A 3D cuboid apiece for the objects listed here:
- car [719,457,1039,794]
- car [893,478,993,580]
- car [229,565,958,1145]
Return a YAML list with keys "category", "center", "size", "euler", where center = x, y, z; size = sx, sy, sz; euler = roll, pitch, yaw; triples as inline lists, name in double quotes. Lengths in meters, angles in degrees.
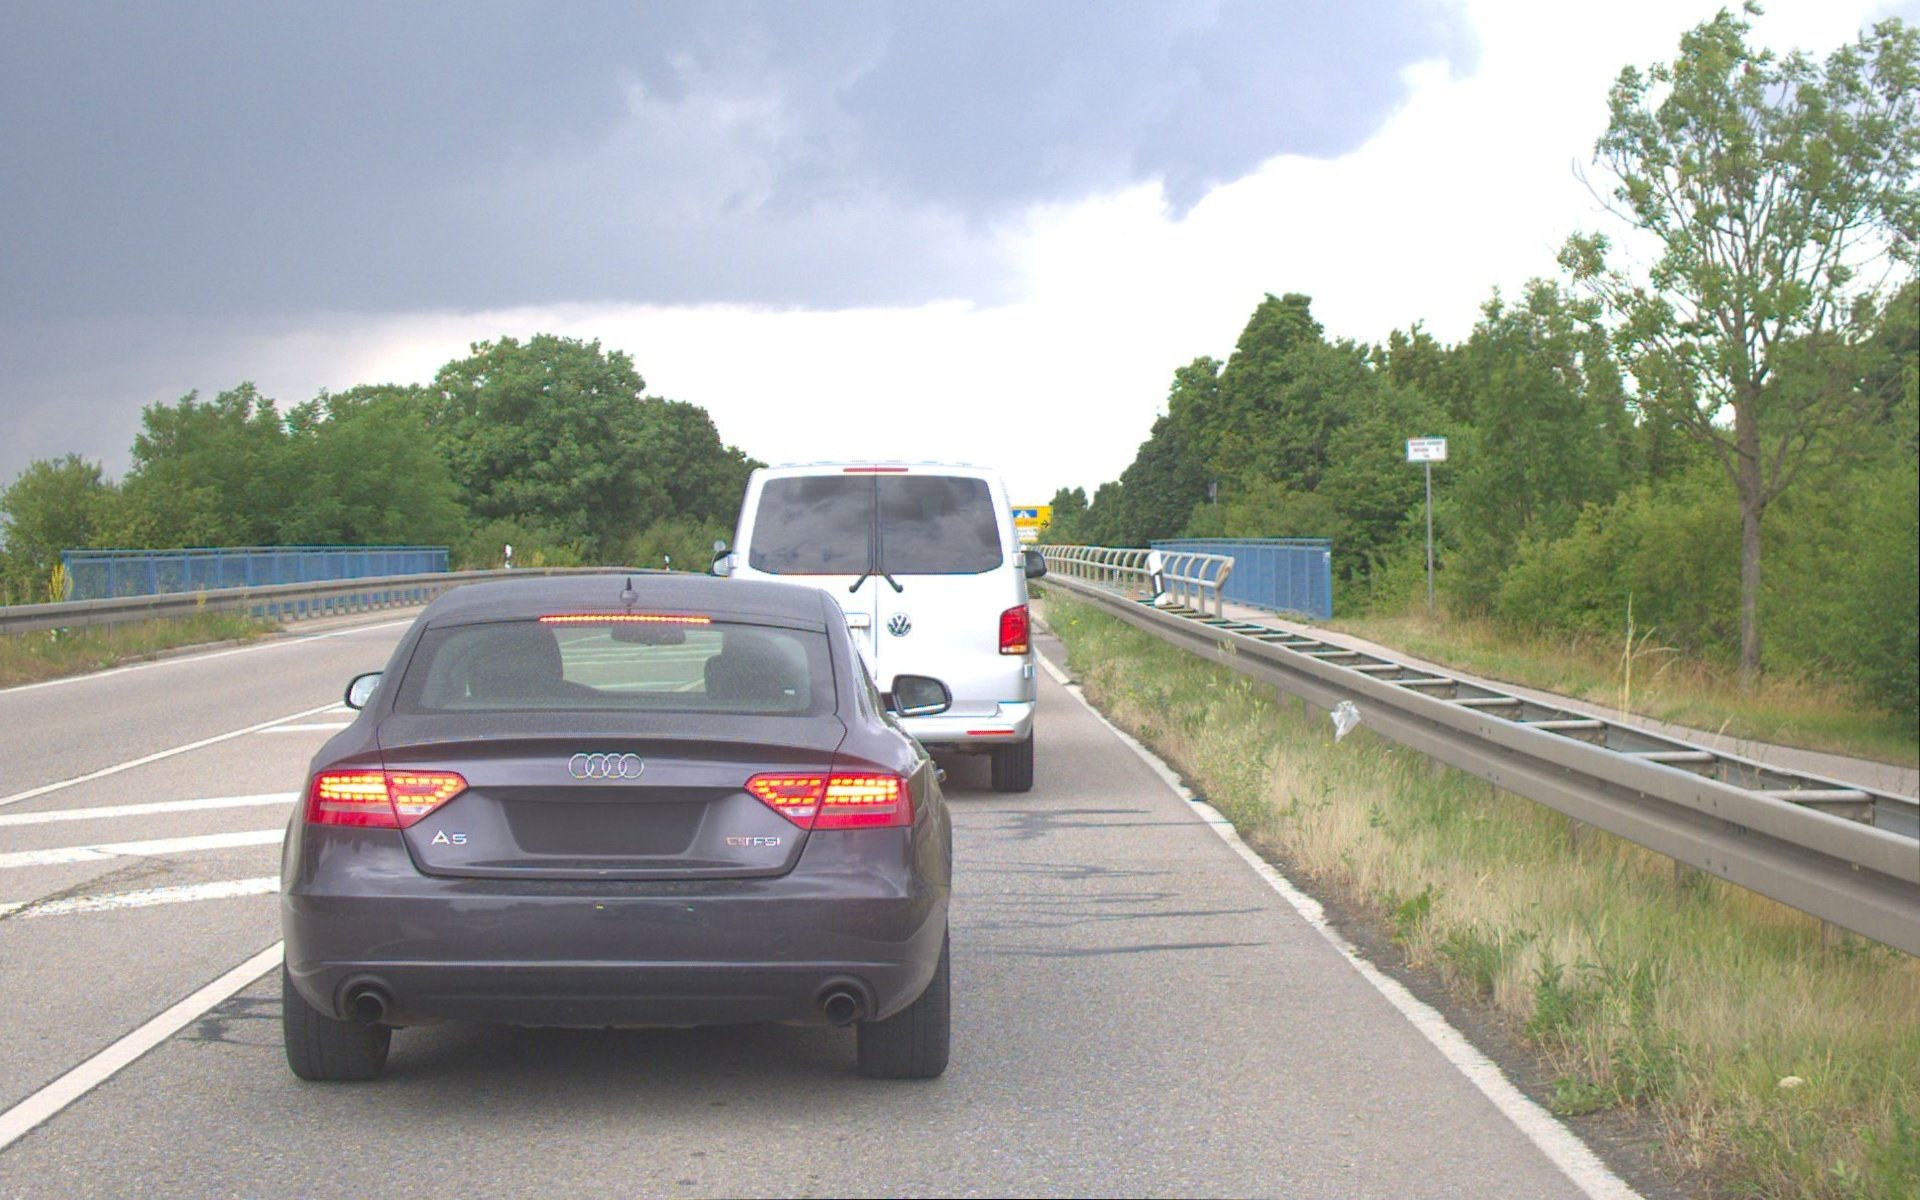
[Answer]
- category: "car"
  center: [-0.485, 0.125, 21.362]
  size: [1.785, 1.883, 4.000]
  euler: [1, 1, -1]
- category: "car"
  center: [-0.430, -1.808, 87.181]
  size: [2.447, 2.495, 5.041]
  euler: [1, 1, 0]
- category: "car"
  center: [-0.933, 0.612, 10.491]
  size: [1.785, 1.419, 4.000]
  euler: [1, 1, -1]
